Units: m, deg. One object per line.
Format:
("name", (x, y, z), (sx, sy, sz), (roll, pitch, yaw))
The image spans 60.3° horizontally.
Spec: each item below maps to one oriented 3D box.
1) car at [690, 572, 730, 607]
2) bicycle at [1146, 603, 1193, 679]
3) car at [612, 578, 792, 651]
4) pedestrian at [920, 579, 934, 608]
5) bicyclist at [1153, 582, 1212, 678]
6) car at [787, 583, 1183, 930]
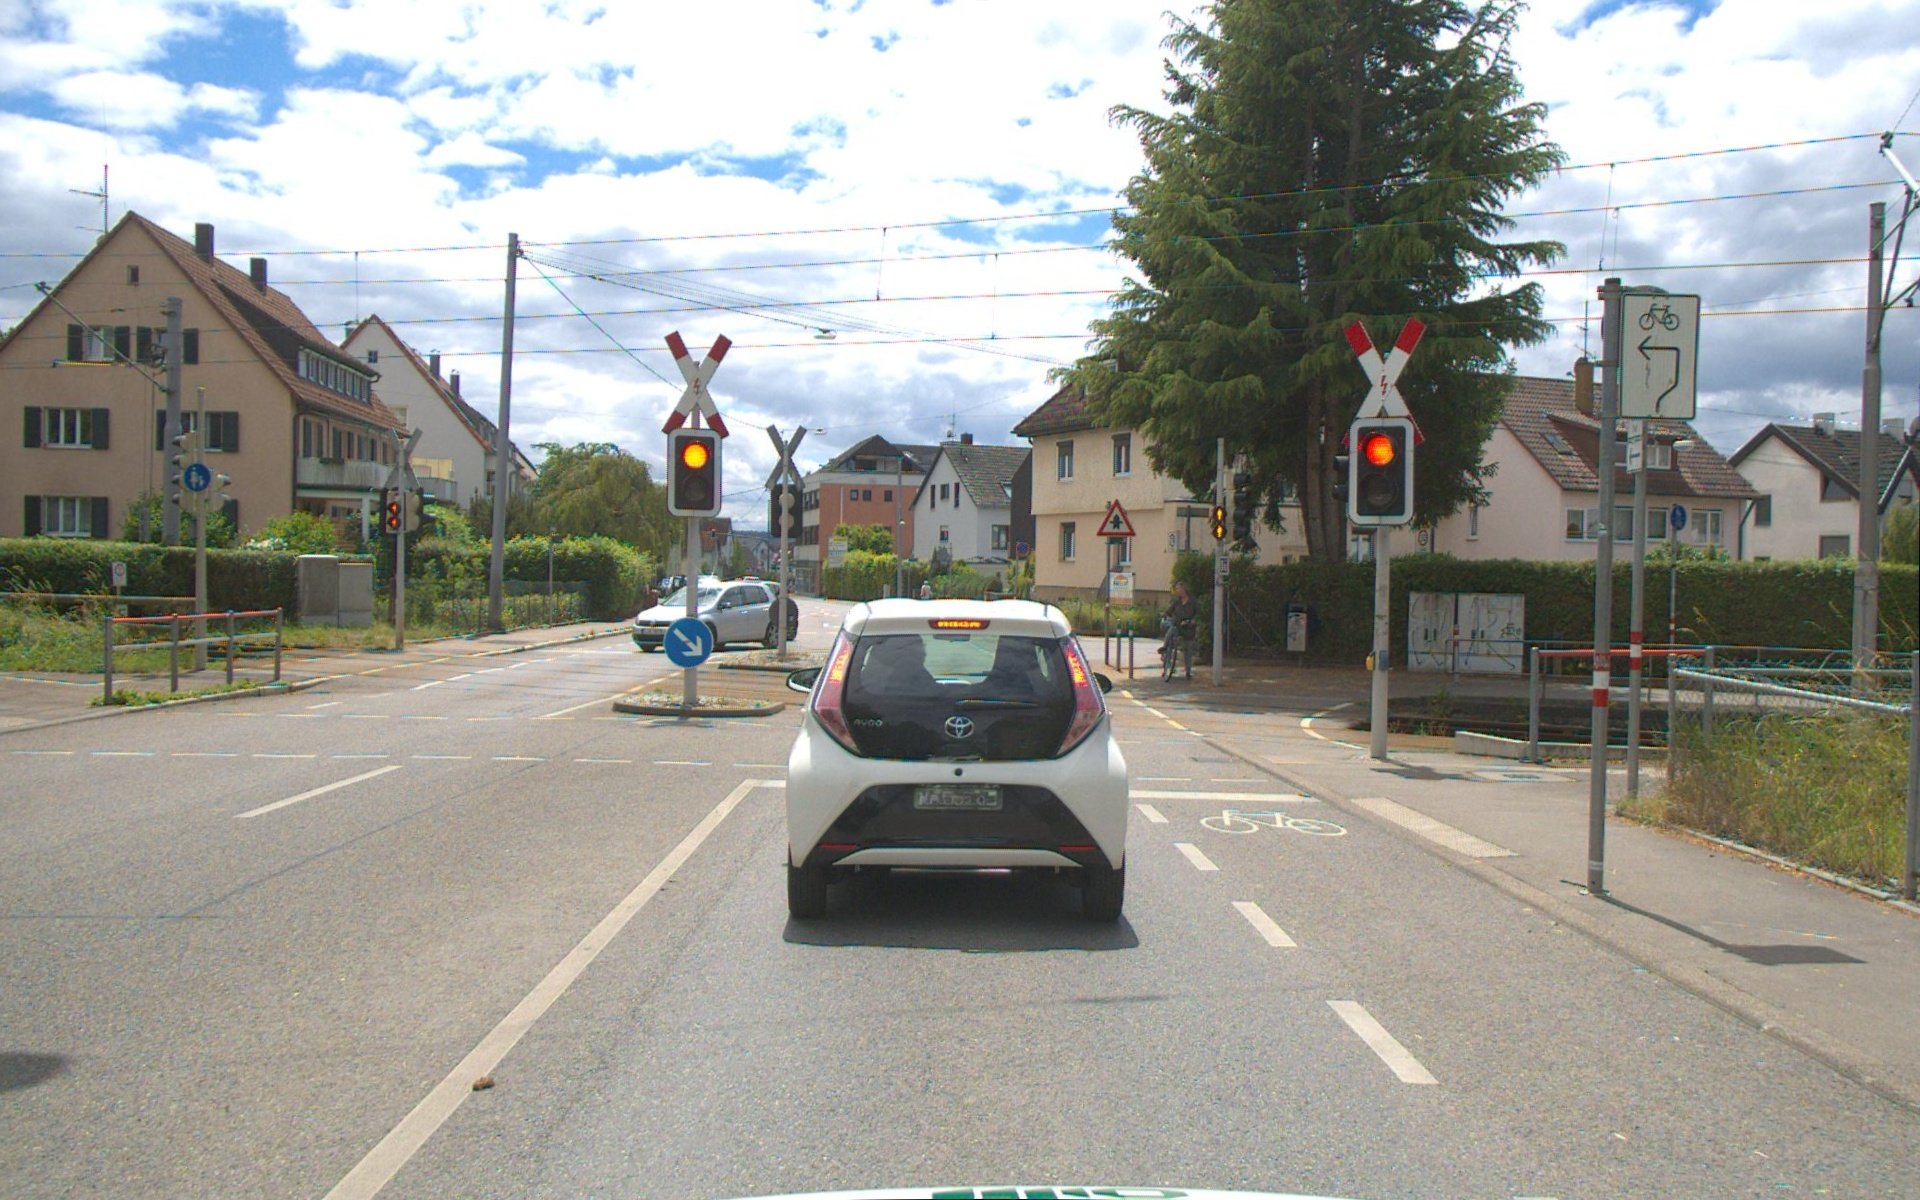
("car", (-13.245, -0.582, 87.750), (1.956, 1.749, 3.994), (2, 0, -7))
("bicycle", (3.633, 0.697, 28.763), (0.448, 1.192, 1.477), (-2, 3, -6))
("car", (-5.660, 0.319, 36.774), (1.868, 1.466, 4.094), (2, 0, 27))
("pedestrian", (-1.825, -0.356, 90.322), (0.711, 1.604, 0.803), (2, 0, -1))
("bicyclist", (3.841, 0.504, 28.596), (0.825, 1.580, 0.755), (-2, 3, -7))
("car", (-0.017, 0.677, 9.057), (1.687, 1.467, 3.705), (2, 0, -4))
